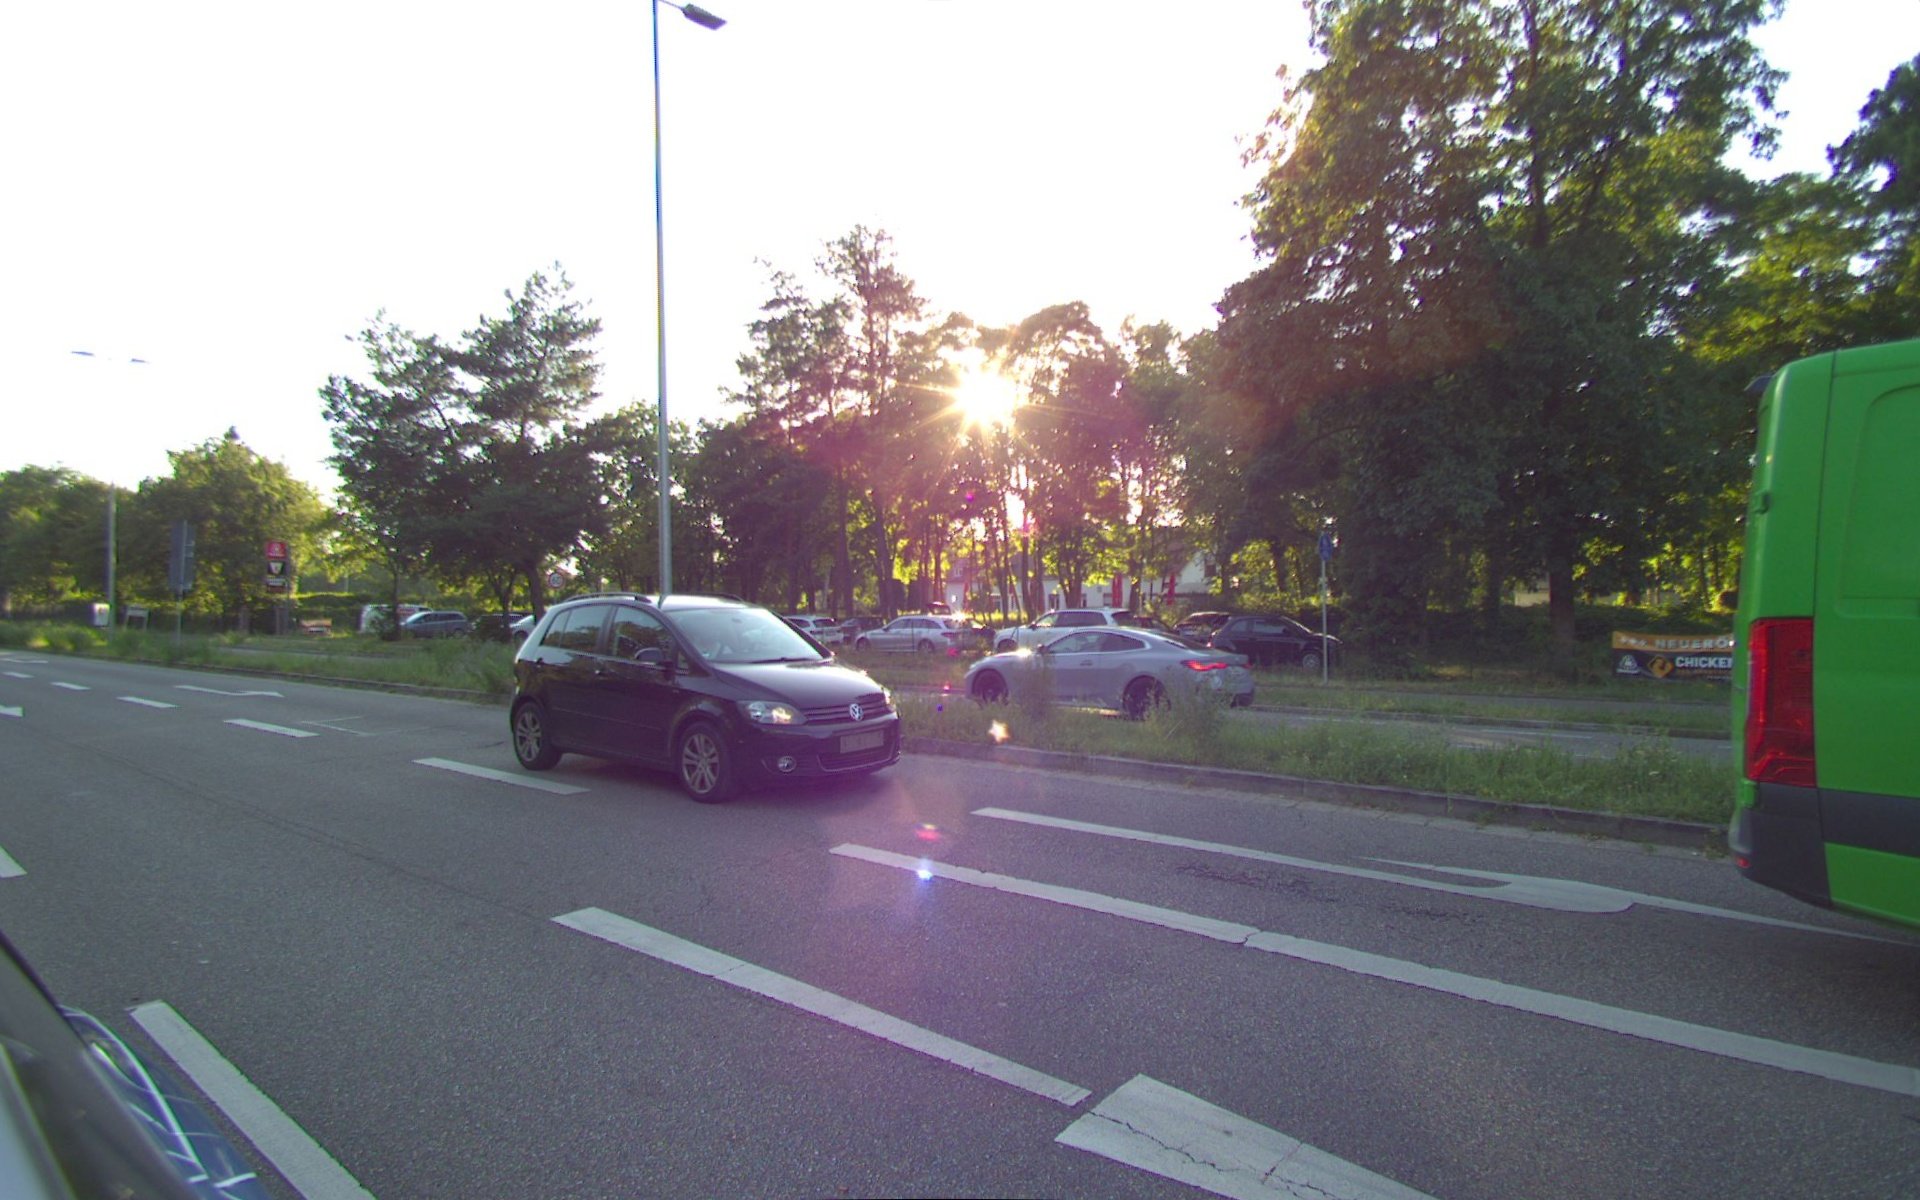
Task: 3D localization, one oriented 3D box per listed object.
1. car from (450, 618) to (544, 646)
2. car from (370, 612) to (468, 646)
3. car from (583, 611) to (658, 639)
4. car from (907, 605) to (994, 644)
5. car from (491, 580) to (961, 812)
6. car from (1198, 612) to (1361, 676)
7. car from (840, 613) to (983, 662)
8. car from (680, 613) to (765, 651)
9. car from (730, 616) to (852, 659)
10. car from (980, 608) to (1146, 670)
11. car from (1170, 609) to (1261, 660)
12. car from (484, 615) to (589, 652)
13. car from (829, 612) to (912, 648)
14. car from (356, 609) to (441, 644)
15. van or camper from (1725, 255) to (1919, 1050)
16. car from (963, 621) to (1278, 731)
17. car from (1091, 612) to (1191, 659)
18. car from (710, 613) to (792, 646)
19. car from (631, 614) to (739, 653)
[{"bbox_3d":[-23.099,1.582,50.600,1.731,1.322,3.947,-1,-2,39],"label":"car"},{"bbox_3d":[-30.244,1.606,56.678,1.907,1.811,4.443,-1,-2,38],"label":"car"},{"bbox_3d":[-20.496,1.506,61.243,1.765,1.663,3.947,-1,-2,40],"label":"car"},{"bbox_3d":[-0.385,1.104,45.116,1.765,1.663,3.947,-1,-2,39],"label":"car"},{"bbox_3d":[-2.158,0.690,8.870,3.995,1.564,1.974,-1,-2,39],"label":"car"},{"bbox_3d":[8.573,1.148,27.254,3.807,1.609,1.838,-1,-2,36],"label":"car"},{"bbox_3d":[-1.745,1.287,35.596,4.913,1.619,1.975,-1,-2,37],"label":"car"},{"bbox_3d":[-9.821,1.309,41.930,1.657,1.538,3.060,-1,-2,38],"label":"car"},{"bbox_3d":[-6.604,1.416,39.299,4.701,1.560,1.975,-1,-2,37],"label":"car"},{"bbox_3d":[3.174,1.178,31.809,4.913,1.800,1.975,-1,-2,37],"label":"car"},{"bbox_3d":[9.001,1.175,35.448,1.914,1.663,3.954,-1,-1,34],"label":"car"},{"bbox_3d":[-20.802,1.622,49.849,1.908,1.767,4.441,-1,-2,39],"label":"car"},{"bbox_3d":[-4.319,1.451,49.052,1.765,1.663,3.947,-1,-2,39],"label":"car"},{"bbox_3d":[-32.530,1.517,58.684,1.764,1.959,3.949,-1,-2,38],"label":"car"},{"bbox_3d":[5.470,0.136,2.269,5.891,2.439,1.973,-1,-2,40],"label":"van or camper"},{"bbox_3d":[2.354,1.056,15.581,4.497,1.452,1.872,-1,-2,40],"label":"car"},{"bbox_3d":[6.823,1.312,37.850,1.918,1.663,3.944,-1,-2,42],"label":"car"},{"bbox_3d":[-10.901,1.522,52.953,1.765,1.663,3.947,-1,-2,40],"label":"car"},{"bbox_3d":[-12.001,1.428,44.398,1.769,1.629,4.470,-1,-2,37],"label":"car"}]
